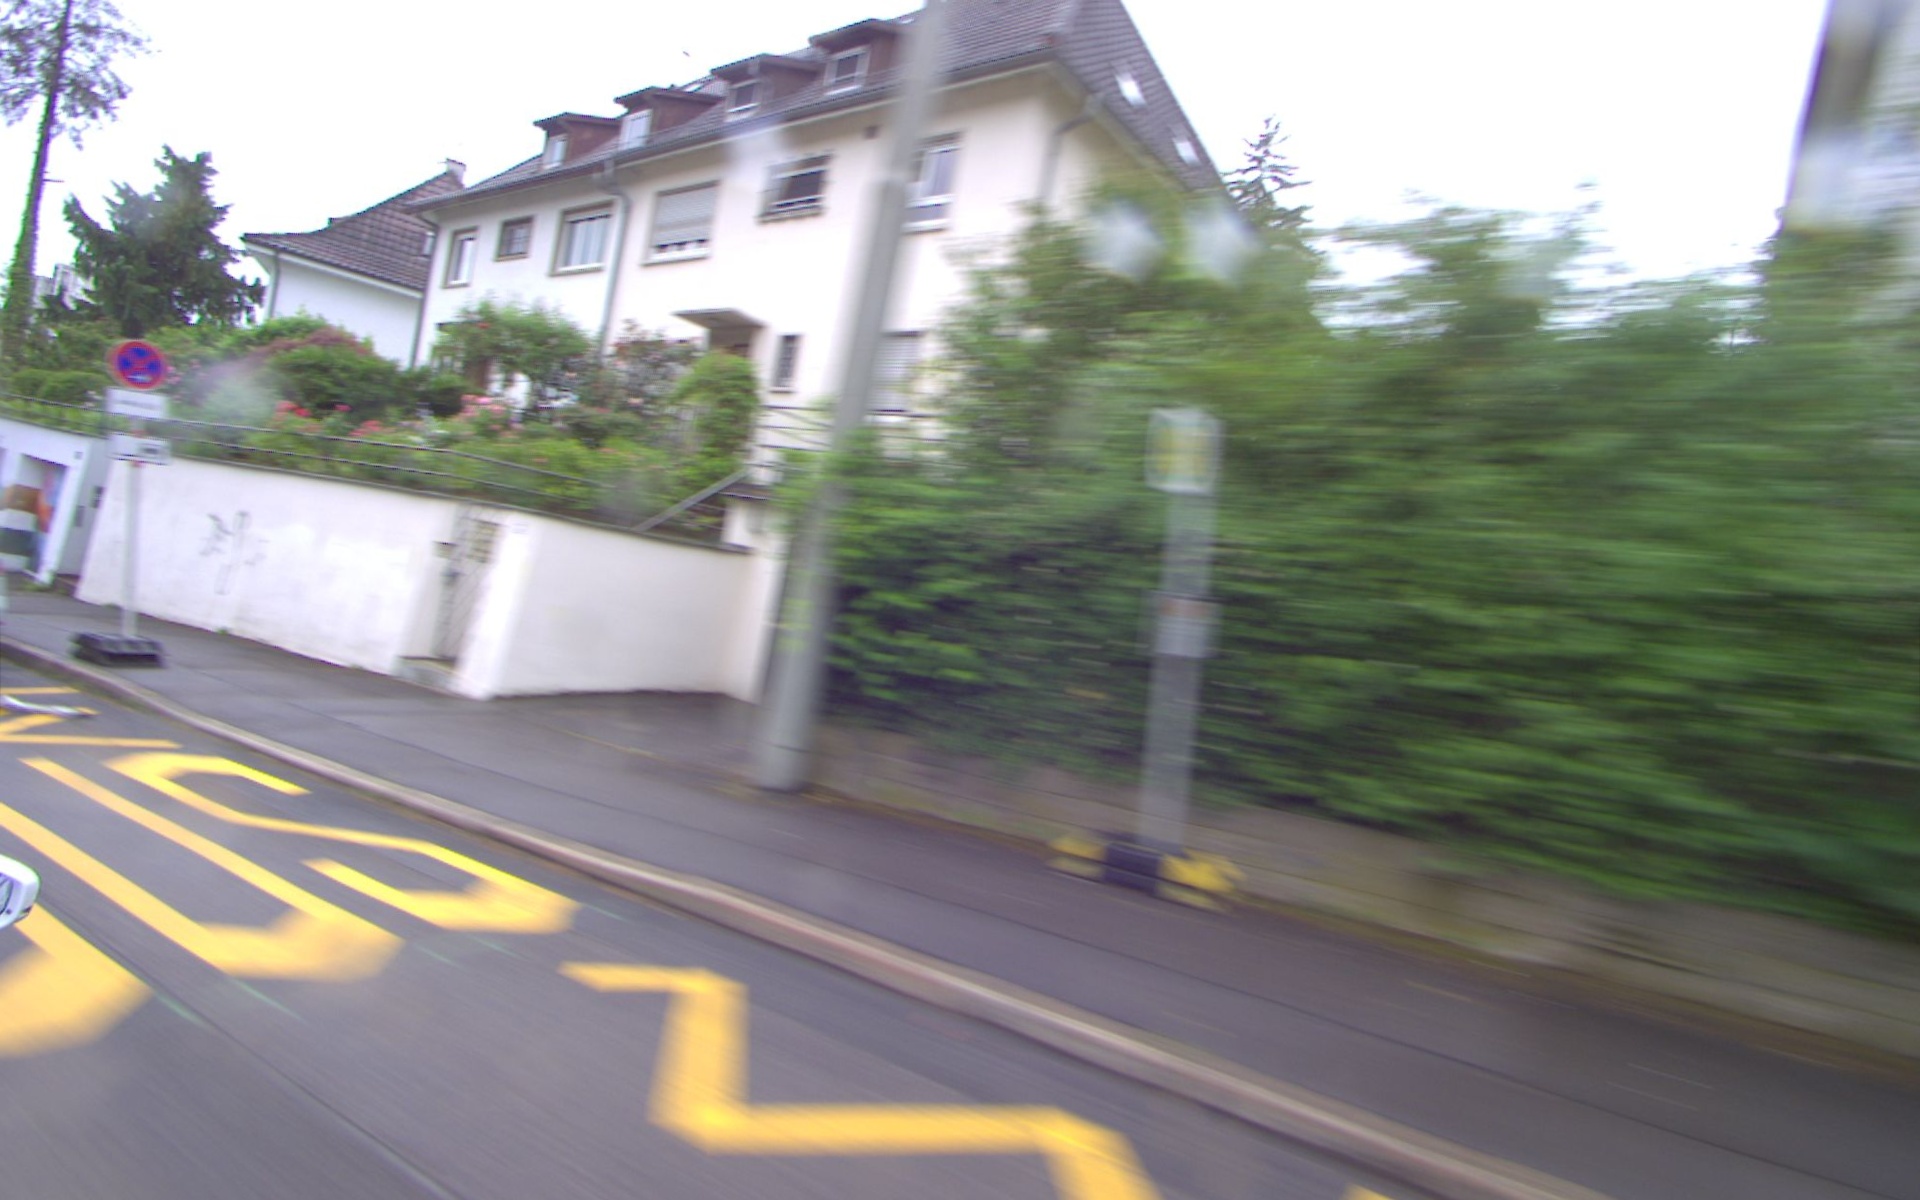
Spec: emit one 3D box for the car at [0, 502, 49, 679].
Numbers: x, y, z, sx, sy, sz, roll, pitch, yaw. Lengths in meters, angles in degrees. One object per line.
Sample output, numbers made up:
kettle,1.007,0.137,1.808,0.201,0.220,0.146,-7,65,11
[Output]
car,-10.004,-0.344,8.802,4.357,1.437,1.784,7,-1,32
